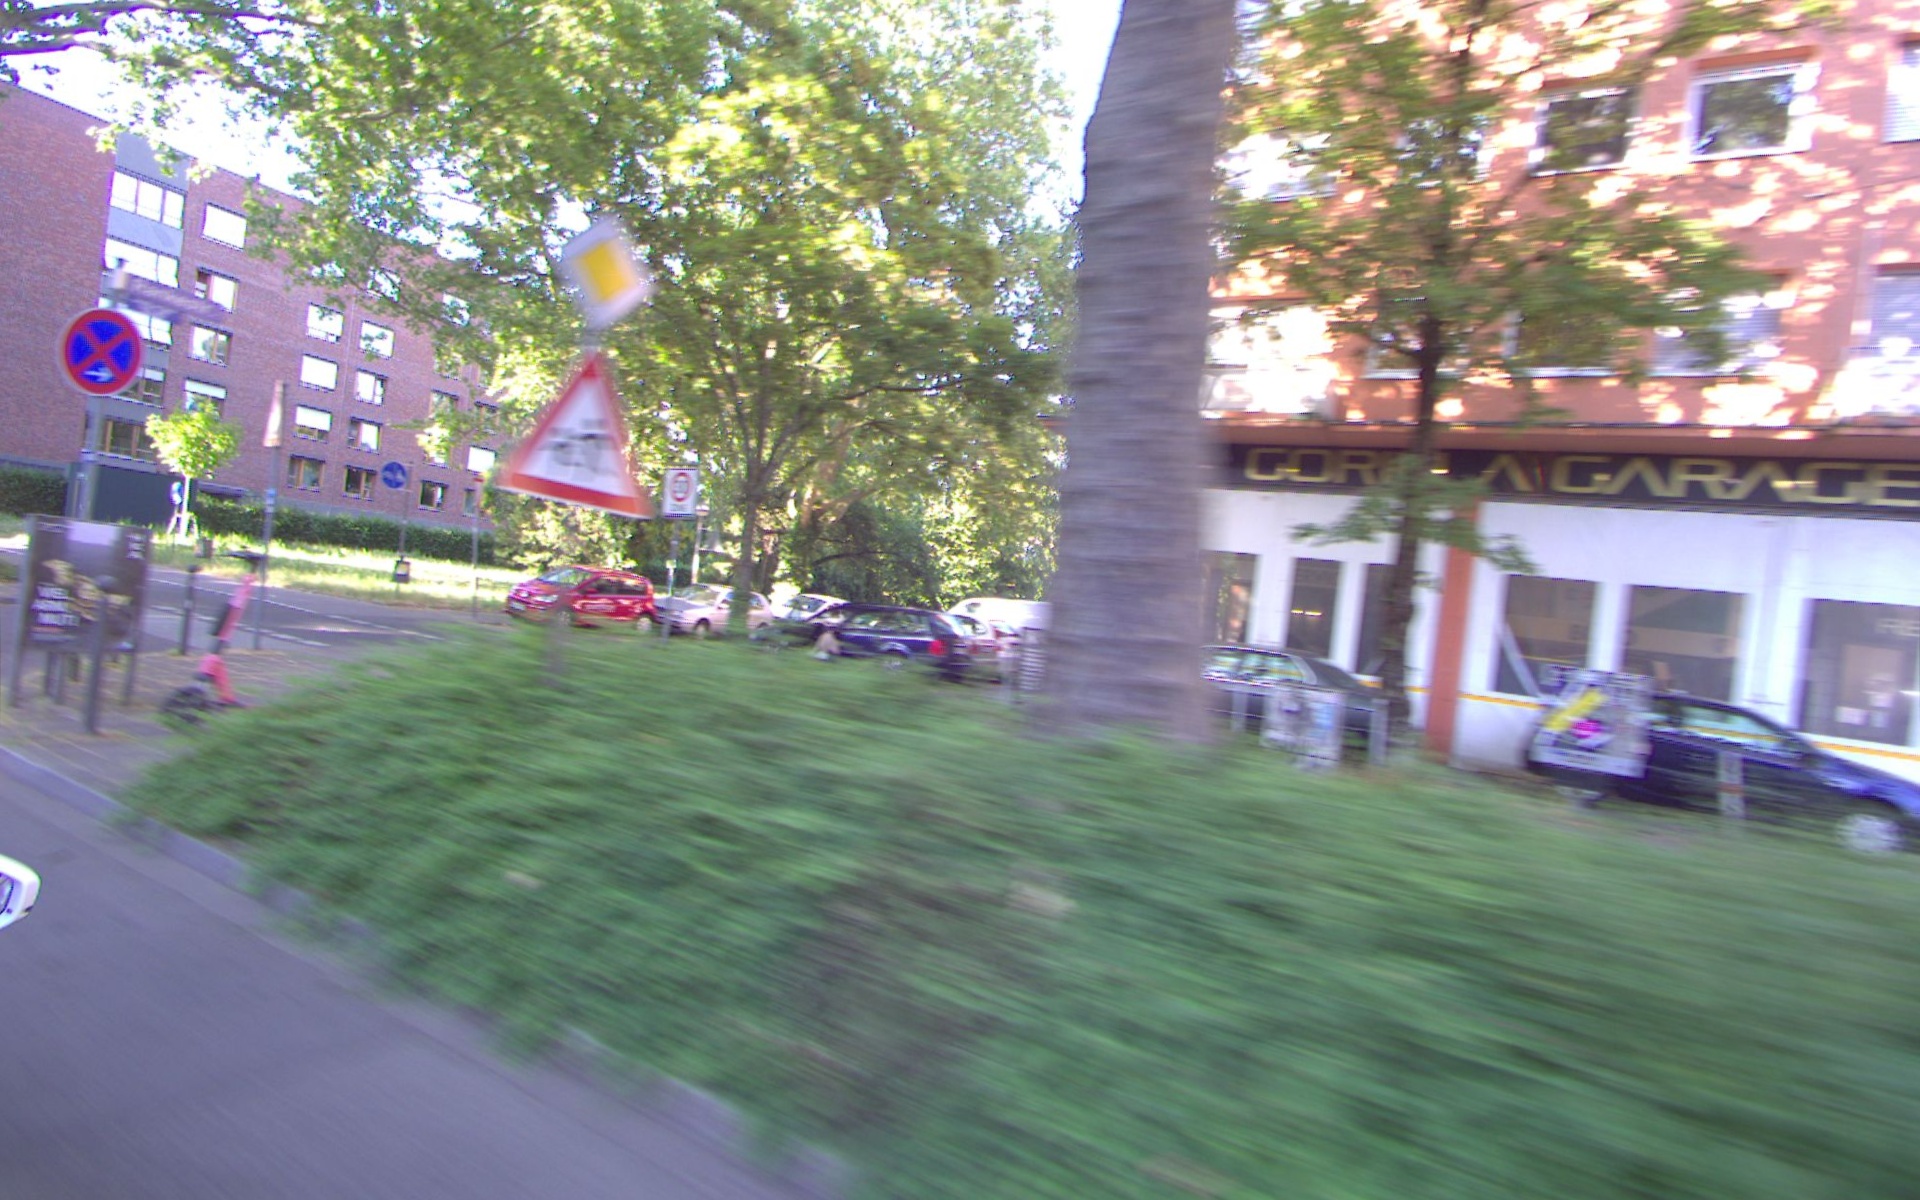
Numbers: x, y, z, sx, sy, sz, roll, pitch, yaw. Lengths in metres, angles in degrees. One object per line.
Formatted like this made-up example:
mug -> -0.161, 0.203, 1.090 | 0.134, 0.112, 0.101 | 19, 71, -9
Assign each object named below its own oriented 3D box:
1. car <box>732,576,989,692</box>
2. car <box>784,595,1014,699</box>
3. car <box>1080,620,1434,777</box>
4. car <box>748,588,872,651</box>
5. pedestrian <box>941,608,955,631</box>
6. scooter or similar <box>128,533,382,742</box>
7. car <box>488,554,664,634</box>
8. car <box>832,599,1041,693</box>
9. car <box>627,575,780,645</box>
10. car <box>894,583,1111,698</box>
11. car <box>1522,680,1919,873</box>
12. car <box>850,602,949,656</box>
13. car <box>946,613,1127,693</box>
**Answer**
car -> -1.927, 0.619, 19.339 | 4.496, 1.594, 1.794 | 7, 0, 25
car -> -1.326, 0.980, 21.689 | 4.496, 1.594, 1.794 | 7, 0, 25
car -> 4.128, 1.294, 14.216 | 4.392, 1.452, 1.751 | 7, 0, 31
car -> -4.565, 0.646, 31.193 | 1.654, 1.601, 3.925 | 7, 0, 28
pedestrian -> -0.894, 1.529, 77.361 | 0.639, 1.682, 0.649 | 7, 1, 30
scooter or similar -> -4.754, 0.261, 6.855 | 0.560, 1.255, 1.210 | 6, 0, 28
car -> -8.944, -0.089, 23.682 | 1.654, 1.470, 3.545 | 7, 0, 28
car -> -0.580, 1.062, 23.863 | 4.497, 1.594, 1.793 | 7, 0, 26
car -> -6.758, 0.324, 26.923 | 1.654, 1.470, 3.925 | 7, 0, 28
car -> 1.045, 0.999, 25.588 | 4.995, 2.211, 1.916 | 7, 0, 27
car -> 8.788, 1.920, 11.607 | 3.883, 1.452, 1.751 | 7, 0, 30
car -> -2.124, 1.091, 36.554 | 1.654, 1.601, 3.925 | 7, 0, 28
car -> 2.096, 1.437, 27.774 | 4.497, 1.594, 1.793 | 7, 0, 26
